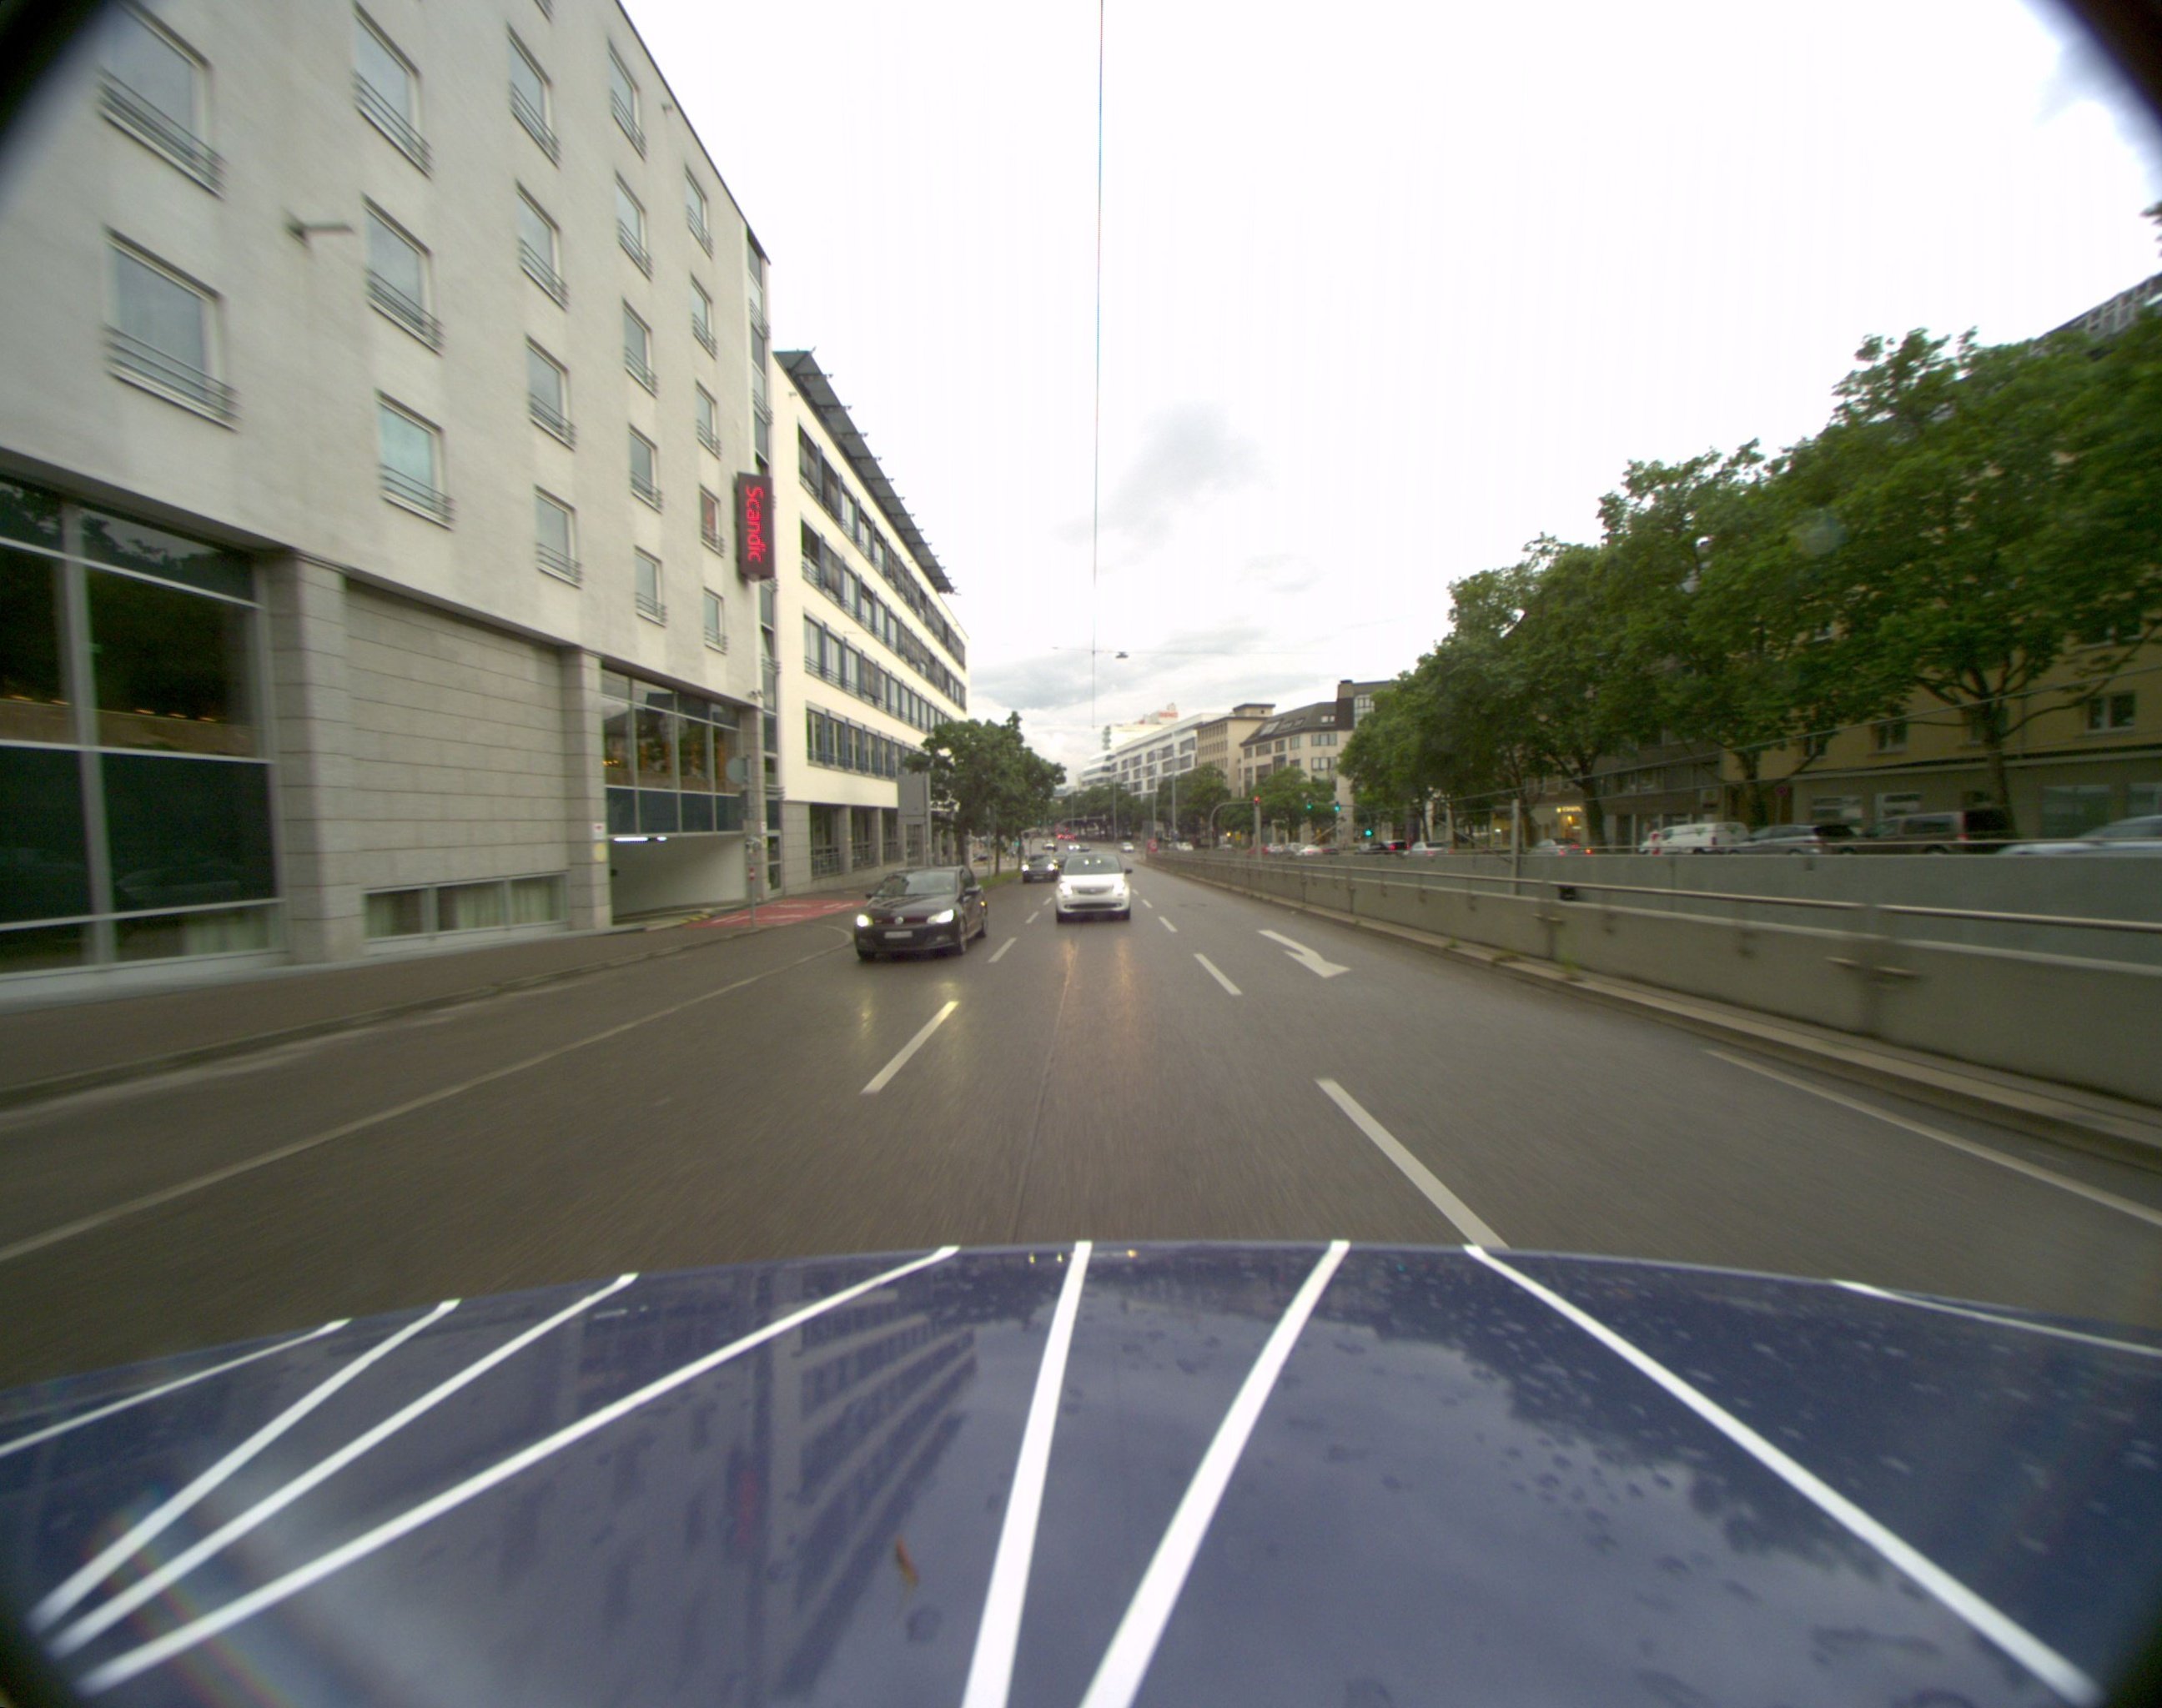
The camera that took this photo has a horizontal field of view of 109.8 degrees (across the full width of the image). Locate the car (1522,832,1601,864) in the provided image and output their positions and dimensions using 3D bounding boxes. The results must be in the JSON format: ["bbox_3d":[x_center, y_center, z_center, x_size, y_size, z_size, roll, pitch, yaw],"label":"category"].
[{"bbox_3d":[25.031,-0.305,39.743,1.850,1.501,4.018,-2,0,5],"label":"car"}]

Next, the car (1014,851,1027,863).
[{"bbox_3d":[-10.191,0.469,128.044,1.799,1.851,4.290,-3,1,0],"label":"car"}]

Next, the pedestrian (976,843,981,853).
[{"bbox_3d":[-16.788,-1.063,124.565,0.588,1.600,0.603,-3,2,-12],"label":"pedestrian"}]

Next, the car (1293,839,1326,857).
[{"bbox_3d":[23.139,-0.634,77.053,1.799,1.760,4.729,-2,1,-1],"label":"car"}]

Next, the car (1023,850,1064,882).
[{"bbox_3d":[-1.973,0.609,40.544,1.751,1.433,3.706,-3,1,3],"label":"car"}]

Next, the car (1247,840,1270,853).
[{"bbox_3d":[21.748,-0.929,92.982,1.589,1.393,3.878,-2,1,-5],"label":"car"}]

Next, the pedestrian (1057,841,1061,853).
[{"bbox_3d":[-3.483,-1.121,119.978,0.604,1.792,0.587,-3,2,-6],"label":"pedestrian"}]

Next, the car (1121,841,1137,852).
[{"bbox_3d":[8.022,-1.197,127.370,1.800,1.734,3.995,-3,2,-11],"label":"car"}]

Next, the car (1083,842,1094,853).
[{"bbox_3d":[1.278,-1.195,138.976,1.799,1.934,3.998,-3,2,-1],"label":"car"}]

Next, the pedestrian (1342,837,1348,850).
[{"bbox_3d":[35.621,-1.395,102.467,0.590,1.799,0.674,-2,2,8],"label":"pedestrian"}]

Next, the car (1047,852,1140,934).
[{"bbox_3d":[0.311,0.766,16.980,1.798,1.528,4.000,-1,1,2],"label":"car"}]

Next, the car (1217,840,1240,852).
[{"bbox_3d":[20.272,-1.148,104.849,1.799,1.549,4.832,-2,1,-6],"label":"car"}]

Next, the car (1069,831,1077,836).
[{"bbox_3d":[-2.664,-6.544,248.506,1.800,1.502,3.995,-3,2,-11],"label":"car"}]

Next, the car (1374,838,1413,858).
[{"bbox_3d":[26.497,-0.534,64.627,1.798,1.571,4.017,-2,0,3],"label":"car"}]

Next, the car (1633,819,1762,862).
[{"bbox_3d":[28.069,-0.592,34.848,1.882,1.754,4.900,-3,0,-1],"label":"car"}]

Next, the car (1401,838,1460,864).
[{"bbox_3d":[22.215,-0.174,48.461,1.850,1.501,4.822,-2,0,5],"label":"car"}]

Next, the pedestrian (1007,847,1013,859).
[{"bbox_3d":[-9.943,-0.149,106.230,0.707,1.615,0.644,-3,2,3],"label":"pedestrian"}]

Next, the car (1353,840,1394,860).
[{"bbox_3d":[23.119,-0.337,60.219,1.798,1.502,4.344,-2,1,4],"label":"car"}]

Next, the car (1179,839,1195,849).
[{"bbox_3d":[17.145,-1.598,122.996,1.799,1.552,3.997,-2,1,-5],"label":"car"}]

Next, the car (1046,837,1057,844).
[{"bbox_3d":[-6.392,-2.898,164.253,1.800,1.502,3.995,-3,2,-11],"label":"car"}]

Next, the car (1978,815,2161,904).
[{"bbox_3d":[19.721,0.062,13.448,2.031,1.501,4.883,-2,0,3],"label":"car"}]

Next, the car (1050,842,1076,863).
[{"bbox_3d":[-1.469,-0.159,63.972,1.798,1.657,4.000,-3,1,3],"label":"car"}]

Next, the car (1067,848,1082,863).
[{"bbox_3d":[-0.929,0.252,107.113,1.799,1.934,3.998,-3,2,-2],"label":"car"}]

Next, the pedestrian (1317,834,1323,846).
[{"bbox_3d":[34.417,-2.050,109.438,0.604,1.775,0.526,-3,2,-6],"label":"pedestrian"}]

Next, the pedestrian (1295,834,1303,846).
[{"bbox_3d":[32.919,-2.090,114.661,0.835,1.775,0.615,-3,2,-6],"label":"pedestrian"}]

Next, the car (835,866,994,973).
[{"bbox_3d":[-2.668,0.998,13.092,1.677,1.392,3.849,-2,1,3],"label":"car"}]

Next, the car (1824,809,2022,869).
[{"bbox_3d":[27.234,-0.458,24.811,1.799,1.719,4.205,-3,0,1],"label":"car"}]

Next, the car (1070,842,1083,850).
[{"bbox_3d":[-0.972,-1.709,152.760,1.800,1.502,3.995,-3,2,-11],"label":"car"}]

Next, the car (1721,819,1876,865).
[{"bbox_3d":[27.733,-0.447,29.598,1.881,1.574,4.473,-2,0,2],"label":"car"}]

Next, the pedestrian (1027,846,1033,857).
[{"bbox_3d":[-7.000,-0.375,104.830,0.588,1.469,0.603,-3,2,-20],"label":"pedestrian"}]

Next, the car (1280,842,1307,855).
[{"bbox_3d":[27.789,-0.722,99.578,1.800,1.502,3.938,-3,2,-11],"label":"car"}]

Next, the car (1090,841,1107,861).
[{"bbox_3d":[1.920,-0.334,84.249,1.798,2.021,3.999,-3,2,1],"label":"car"}]

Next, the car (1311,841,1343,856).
[{"bbox_3d":[26.244,-0.593,81.168,1.799,1.502,3.997,-3,1,-6],"label":"car"}]

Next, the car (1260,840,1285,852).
[{"bbox_3d":[24.605,-1.077,97.826,1.800,1.502,3.996,-2,1,-8],"label":"car"}]

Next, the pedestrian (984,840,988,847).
[{"bbox_3d":[-18.678,-2.093,149.311,0.588,1.469,0.603,-3,2,-20],"label":"pedestrian"}]
